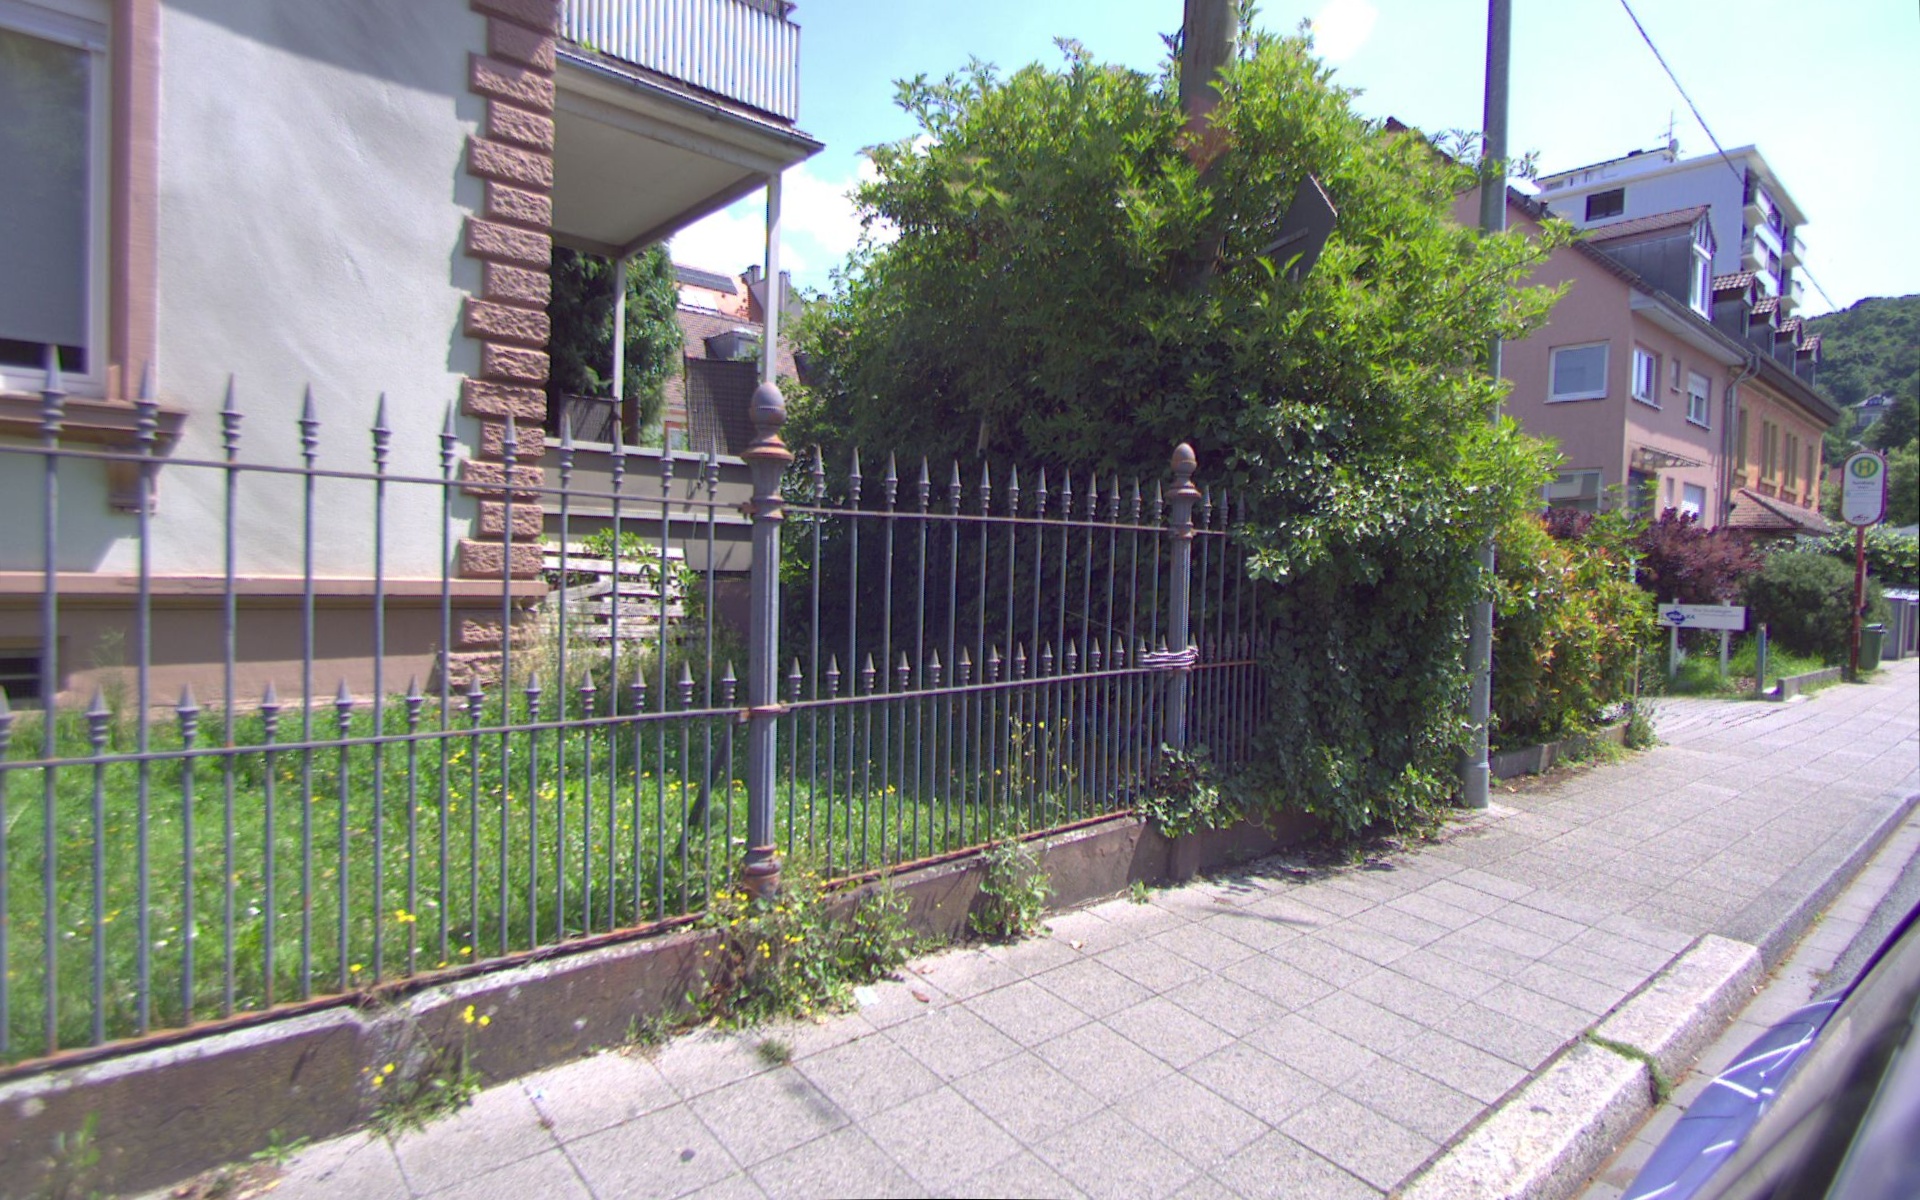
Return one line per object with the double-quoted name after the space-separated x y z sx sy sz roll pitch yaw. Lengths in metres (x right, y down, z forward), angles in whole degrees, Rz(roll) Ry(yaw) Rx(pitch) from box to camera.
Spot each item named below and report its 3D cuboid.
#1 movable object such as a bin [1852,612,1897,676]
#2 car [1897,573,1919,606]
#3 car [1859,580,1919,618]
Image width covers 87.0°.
14.399 0.687 15.934 0.717 0.917 0.407 -2 7 -44 "movable object such as a bin"
53.277 -0.558 54.363 1.788 1.812 4.292 -1 2 -1 "car"
42.434 -0.011 44.670 3.867 1.561 1.818 3 3 37 "car"
